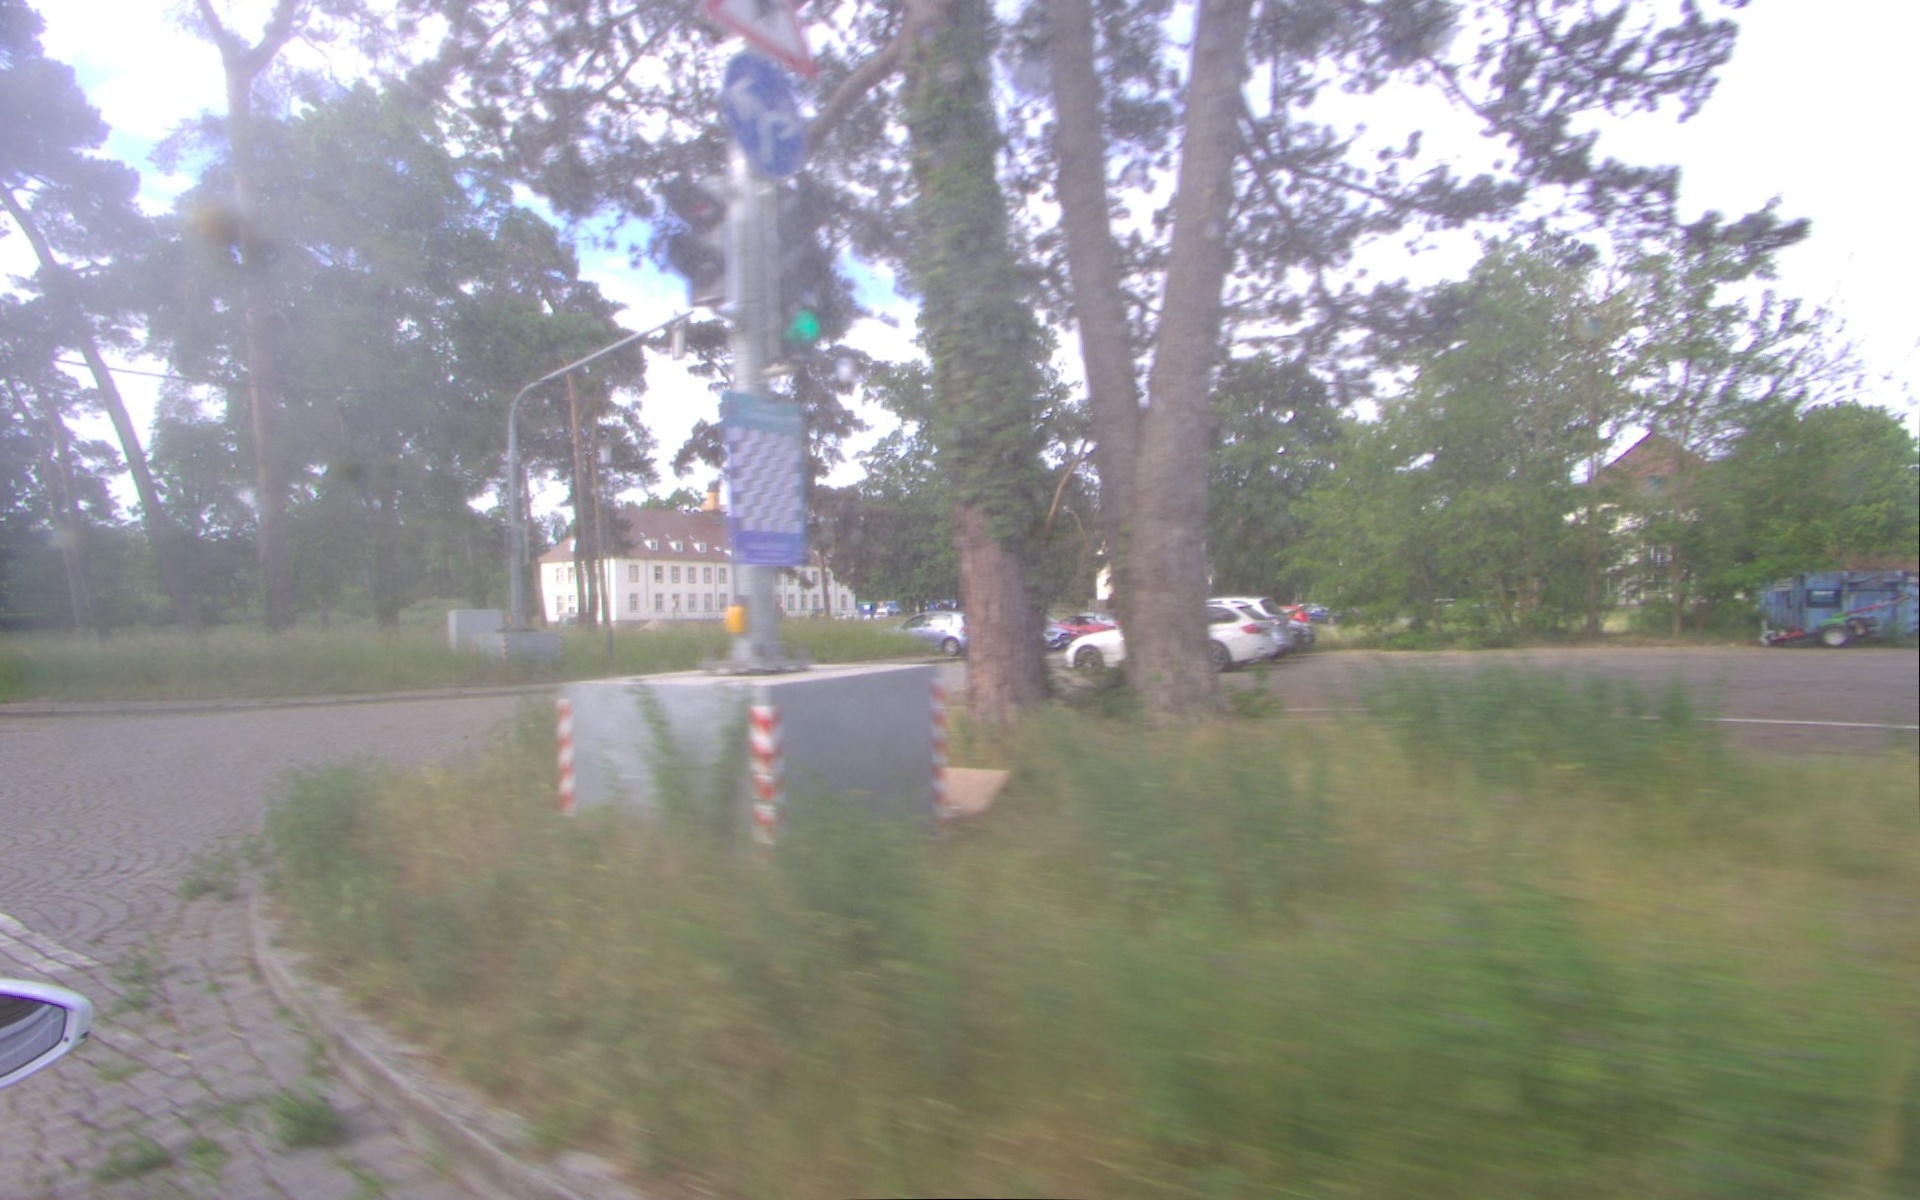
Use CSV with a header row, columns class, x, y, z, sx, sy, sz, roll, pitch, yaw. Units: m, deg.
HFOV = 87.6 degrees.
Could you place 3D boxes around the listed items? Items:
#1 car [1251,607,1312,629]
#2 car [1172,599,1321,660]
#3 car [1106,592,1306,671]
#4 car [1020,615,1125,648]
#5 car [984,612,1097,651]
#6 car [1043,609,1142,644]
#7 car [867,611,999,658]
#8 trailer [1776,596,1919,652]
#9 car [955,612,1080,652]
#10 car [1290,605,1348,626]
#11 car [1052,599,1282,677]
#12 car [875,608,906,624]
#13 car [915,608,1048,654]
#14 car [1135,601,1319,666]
class,x,y,z,sx,sy,sz,roll,pitch,yaw
car,22.358,1.236,69.692,3.774,1.509,1.777,-1,0,33
car,8.224,0.849,28.778,3.731,1.499,1.734,-4,-1,31
car,5.849,0.778,23.916,4.279,1.594,1.819,-4,-2,29
car,4.705,1.297,42.126,4.087,1.300,1.753,-1,0,34
car,3.213,1.231,40.274,4.209,1.474,1.844,-1,0,34
car,5.858,1.163,44.562,4.046,1.500,1.744,-1,0,35
car,-0.947,1.125,33.938,4.285,1.489,1.816,-1,-1,35
trailer,19.801,0.525,22.386,2.287,1.185,1.138,0,0,32
car,2.165,1.189,38.211,4.391,1.474,1.938,-1,-1,35
car,28.004,1.191,78.174,4.026,1.625,1.778,-1,0,32
car,4.456,0.850,21.766,4.500,1.443,1.818,-4,-2,31
car,-9.468,2.165,135.923,2.040,2.121,4.323,-2,-3,33
car,0.750,1.086,35.943,4.449,1.557,1.862,-1,-1,31
car,6.994,0.883,26.368,4.320,1.424,1.786,-4,-1,32
